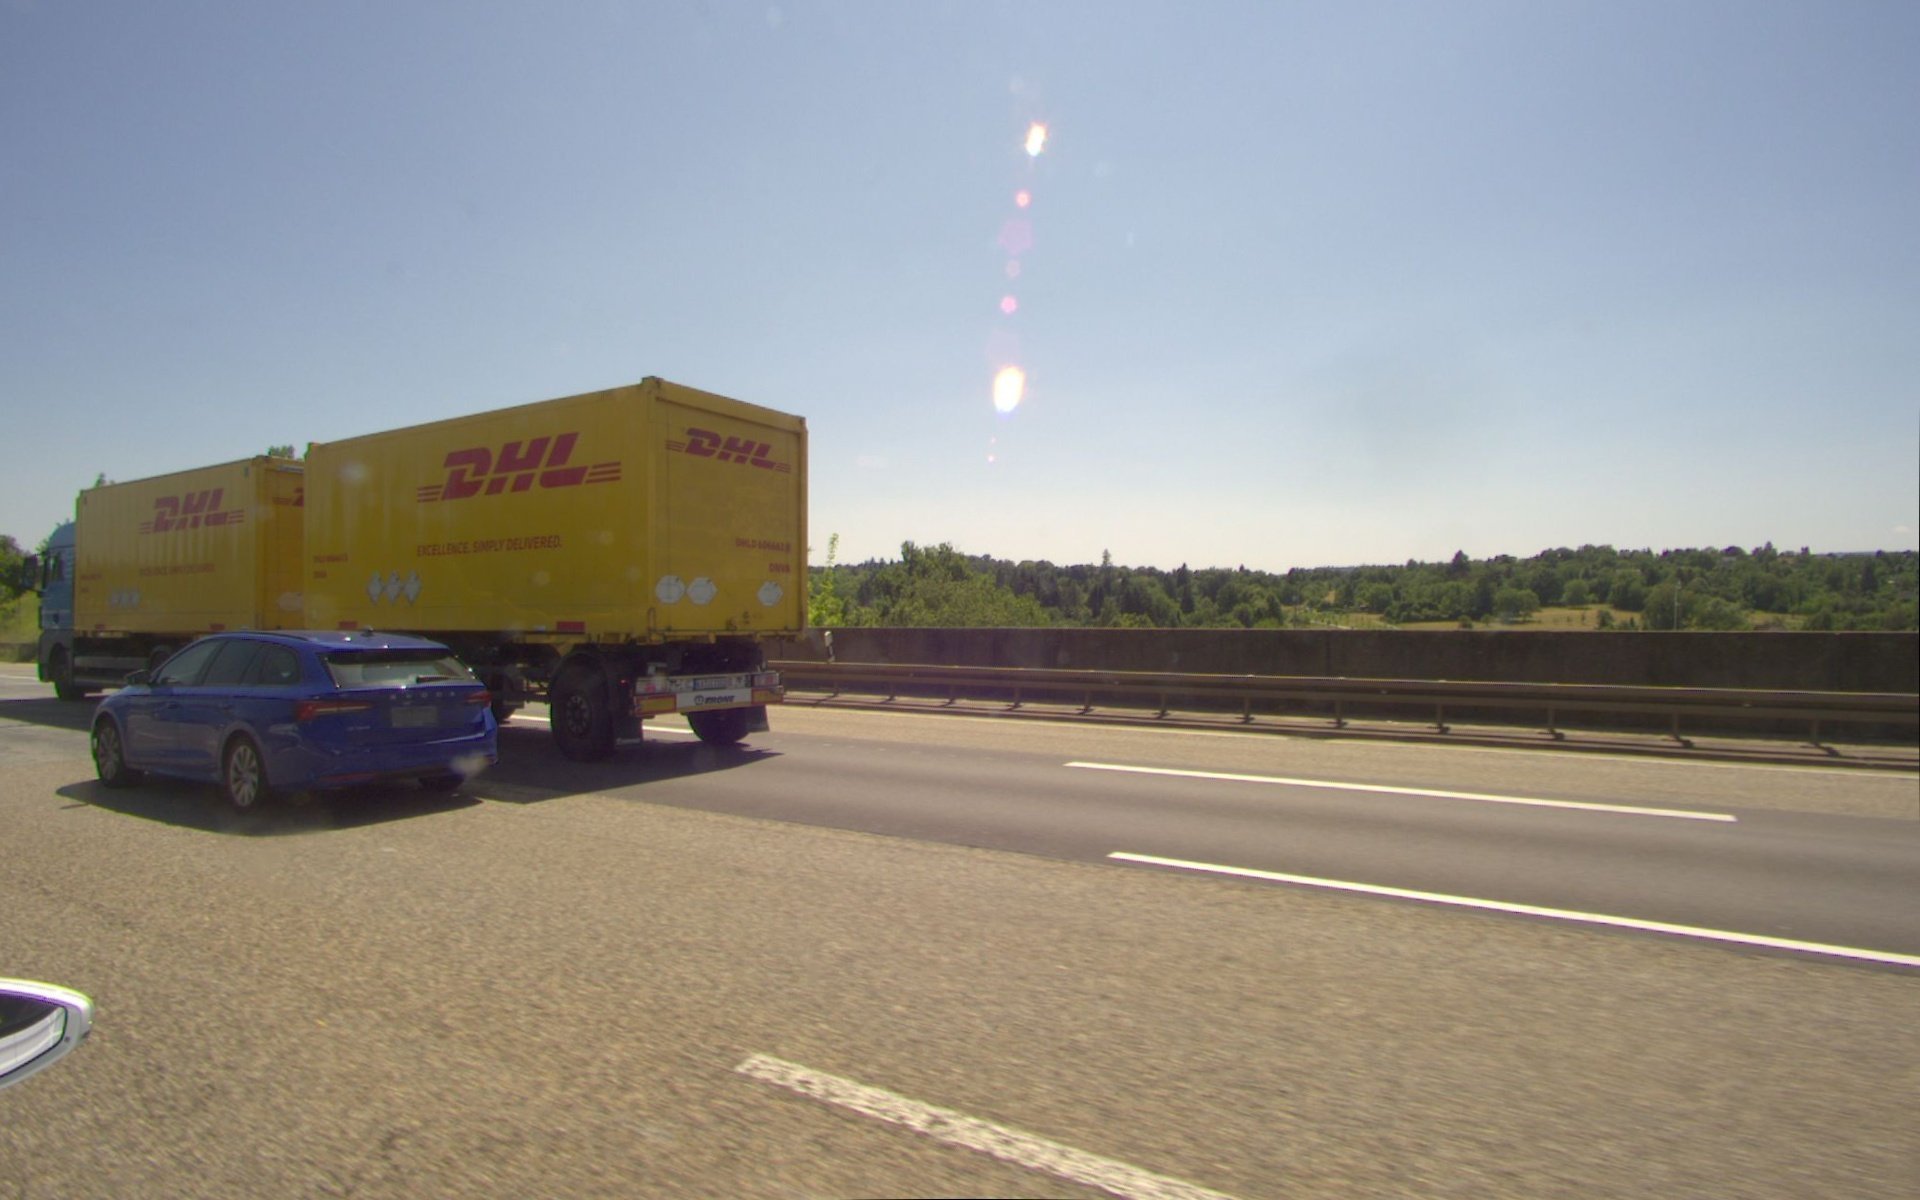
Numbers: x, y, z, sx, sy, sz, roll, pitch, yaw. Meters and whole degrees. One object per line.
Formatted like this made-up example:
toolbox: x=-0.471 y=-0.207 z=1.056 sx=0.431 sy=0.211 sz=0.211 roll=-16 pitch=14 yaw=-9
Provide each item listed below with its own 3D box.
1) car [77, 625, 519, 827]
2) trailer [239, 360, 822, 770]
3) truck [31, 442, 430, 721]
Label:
car: x=-6.139 y=0.970 z=9.145 sx=4.364 sy=1.459 sz=1.704 roll=-1 pitch=-2 yaw=32
trailer: x=-6.347 y=-0.263 z=13.882 sx=9.245 sy=4.170 sz=2.760 roll=-1 pitch=-2 yaw=33
truck: x=-13.978 y=-0.171 z=18.769 sx=9.814 sy=4.162 sz=2.760 roll=-1 pitch=-2 yaw=34
